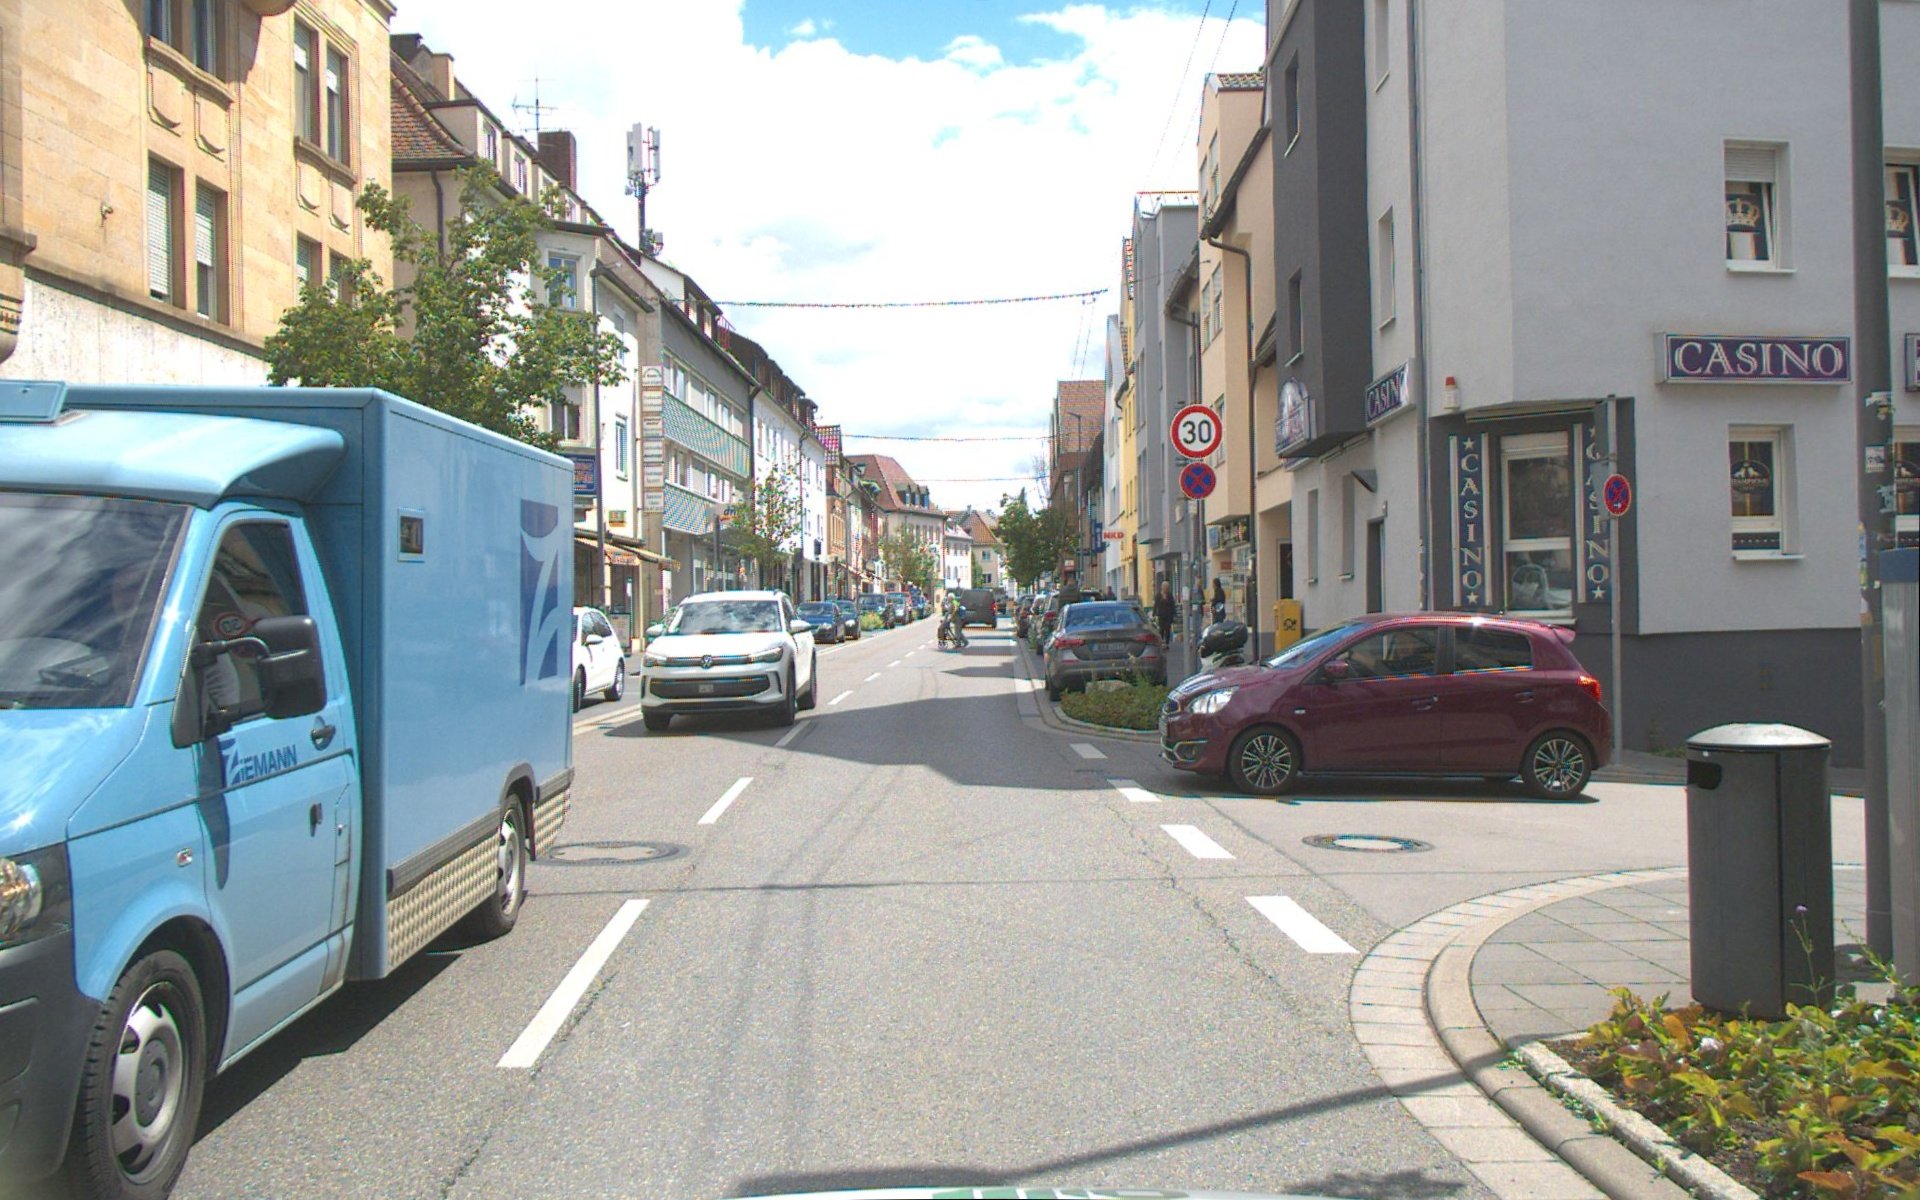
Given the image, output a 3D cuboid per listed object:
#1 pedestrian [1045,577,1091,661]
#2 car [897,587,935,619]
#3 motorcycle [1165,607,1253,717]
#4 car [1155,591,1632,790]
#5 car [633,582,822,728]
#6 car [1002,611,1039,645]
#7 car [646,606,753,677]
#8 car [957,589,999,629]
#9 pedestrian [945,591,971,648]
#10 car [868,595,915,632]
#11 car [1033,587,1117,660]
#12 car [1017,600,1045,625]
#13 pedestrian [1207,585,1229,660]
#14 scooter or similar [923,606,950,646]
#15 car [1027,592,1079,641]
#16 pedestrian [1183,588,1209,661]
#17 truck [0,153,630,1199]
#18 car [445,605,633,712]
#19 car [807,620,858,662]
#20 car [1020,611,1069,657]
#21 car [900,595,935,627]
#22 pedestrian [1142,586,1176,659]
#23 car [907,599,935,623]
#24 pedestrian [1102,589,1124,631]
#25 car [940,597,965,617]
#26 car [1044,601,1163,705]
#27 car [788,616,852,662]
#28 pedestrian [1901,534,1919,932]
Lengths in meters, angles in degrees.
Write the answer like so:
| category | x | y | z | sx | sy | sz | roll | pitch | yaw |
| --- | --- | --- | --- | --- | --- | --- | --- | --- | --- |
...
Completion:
| category | x | y | z | sx | sy | sz | roll | pitch | yaw |
| --- | --- | --- | --- | --- | --- | --- | --- | --- | --- |
| pedestrian | 2.524 | 0.445 | 38.810 | 0.955 | 1.896 | 0.864 | -3 | -1 | 0 |
| car | -2.509 | 0.193 | 95.042 | 1.778 | 1.786 | 4.465 | 1 | -1 | 3 |
| motorcycle | 3.076 | 0.748 | 20.664 | 0.645 | 1.281 | 2.375 | 1 | -1 | -2 |
| car | 3.587 | 0.741 | 14.097 | 3.669 | 1.557 | 1.537 | 1 | -1 | 0 |
| car | -2.861 | 0.669 | 21.220 | 1.751 | 1.669 | 4.116 | 1 | -1 | 1 |
| car | 2.968 | 1.383 | 81.716 | 1.686 | 1.604 | 4.109 | 1 | -1 | 0 |
| car | -5.582 | 0.880 | 35.758 | 1.553 | 1.439 | 3.669 | 1 | -1 | 3 |
| car | 0.871 | 0.472 | 81.357 | 1.999 | 1.881 | 4.999 | 1 | -1 | 1 |
| pedestrian | -0.059 | 0.575 | 48.471 | 0.716 | 1.646 | 0.651 | 1 | -1 | -3 |
| car | -3.381 | 0.682 | 81.943 | 1.778 | 1.786 | 4.671 | 1 | -1 | 4 |
| car | 2.824 | 0.557 | 41.300 | 1.762 | 1.631 | 4.204 | -3 | 0 | 0 |
| car | 4.356 | 0.788 | 101.544 | 1.685 | 1.520 | 4.110 | 1 | -1 | 3 |
| pedestrian | 6.088 | 0.526 | 39.017 | 0.427 | 1.748 | 0.537 | 1 | -1 | -1 |
| scooter or similar | -0.680 | 0.767 | 48.420 | 0.766 | 1.145 | 0.630 | 1 | -1 | -3 |
| car | 3.161 | 0.589 | 56.744 | 1.654 | 1.601 | 3.756 | 1 | -1 | 1 |
| pedestrian | 5.646 | 0.586 | 39.601 | 0.524 | 1.748 | 0.606 | 1 | -1 | 0 |
| truck | -2.894 | 0.340 | 6.392 | 2.064 | 2.346 | 6.473 | 1 | -1 | -1 |
| car | -6.108 | 0.824 | 24.469 | 1.808 | 1.422 | 4.035 | 1 | -1 | -1 |
| car | -4.892 | 1.548 | 63.758 | 1.754 | 1.530 | 4.176 | 1 | 0 | -2 |
| car | 3.094 | 1.235 | 61.216 | 1.654 | 1.497 | 4.524 | 1 | 1 | 1 |
| car | -2.617 | 0.676 | 102.755 | 1.778 | 1.922 | 4.842 | 1 | -1 | 2 |
| pedestrian | 4.848 | 0.552 | 40.315 | 0.728 | 1.748 | 0.656 | -1 | -1 | 0 |
| car | -2.697 | 0.736 | 115.168 | 1.762 | 1.626 | 4.390 | 0 | 0 | 2 |
| pedestrian | 5.903 | 0.390 | 63.895 | 0.734 | 1.580 | 0.726 | -1 | -1 | 1 |
| car | -0.581 | 0.570 | 134.235 | 1.866 | 1.591 | 4.646 | 1 | -1 | 2 |
| car | 2.187 | 0.786 | 25.665 | 1.671 | 1.445 | 4.320 | 1 | -1 | 4 |
| car | -4.940 | 1.359 | 58.986 | 1.753 | 1.539 | 4.713 | 0 | 0 | 1 |
| pedestrian | 4.468 | 0.578 | 7.117 | 0.560 | 1.733 | 0.481 | 1 | -1 | -6 |
